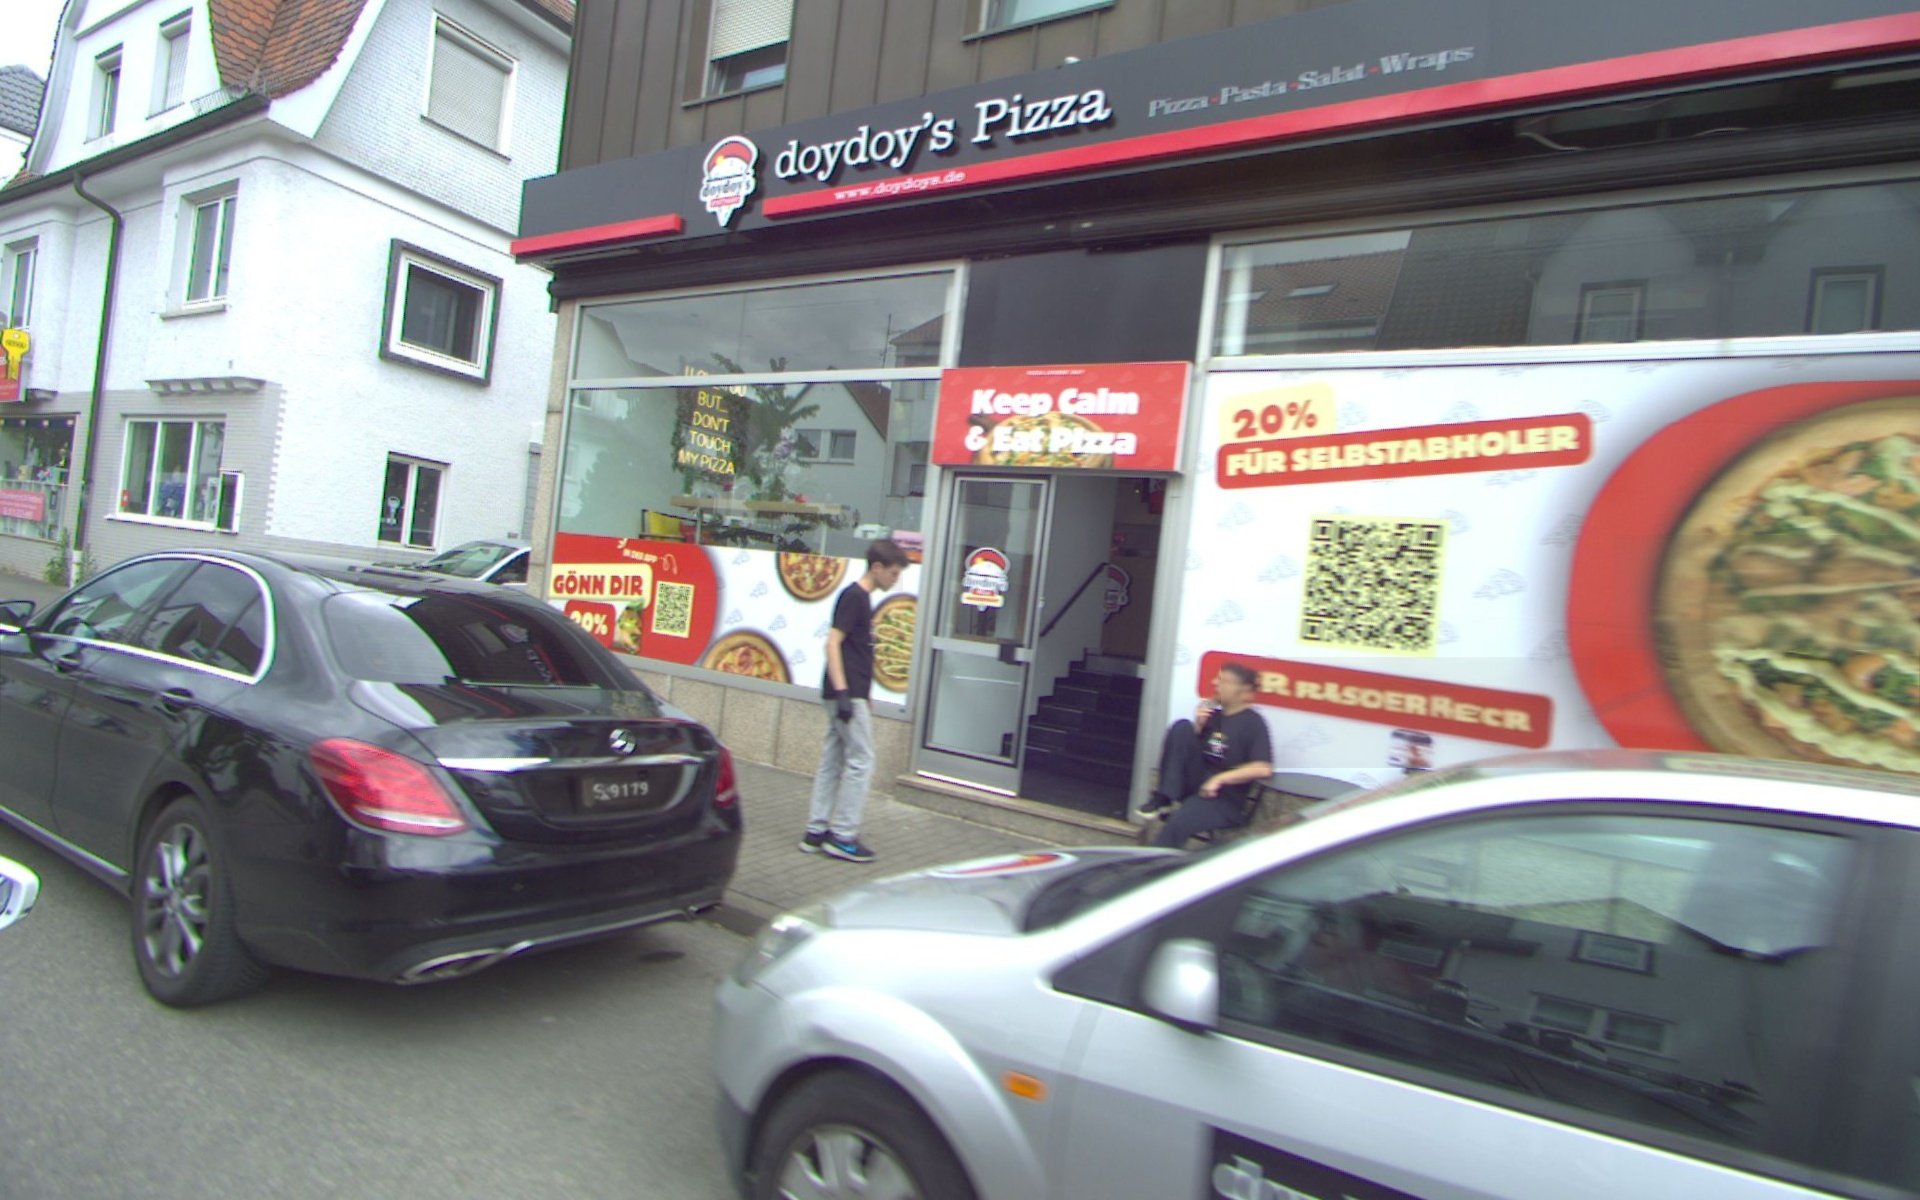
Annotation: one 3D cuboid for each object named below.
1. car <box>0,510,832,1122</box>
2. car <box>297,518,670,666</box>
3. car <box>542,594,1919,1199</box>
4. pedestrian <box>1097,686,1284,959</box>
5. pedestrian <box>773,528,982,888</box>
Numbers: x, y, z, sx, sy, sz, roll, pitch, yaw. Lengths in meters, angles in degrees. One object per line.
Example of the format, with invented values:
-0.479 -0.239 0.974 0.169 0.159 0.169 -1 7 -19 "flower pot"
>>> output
-2.972 0.495 4.510 4.490 1.425 1.828 6 -2 32 "car"
-6.254 -0.035 13.706 1.825 1.608 4.200 6 1 32 "car"
1.135 0.968 2.082 3.838 1.458 1.644 6 -2 32 "car"
1.227 1.106 5.298 0.633 1.226 0.741 6 1 32 "pedestrian"
-0.437 0.550 5.468 0.729 1.762 0.643 6 1 27 "pedestrian"
